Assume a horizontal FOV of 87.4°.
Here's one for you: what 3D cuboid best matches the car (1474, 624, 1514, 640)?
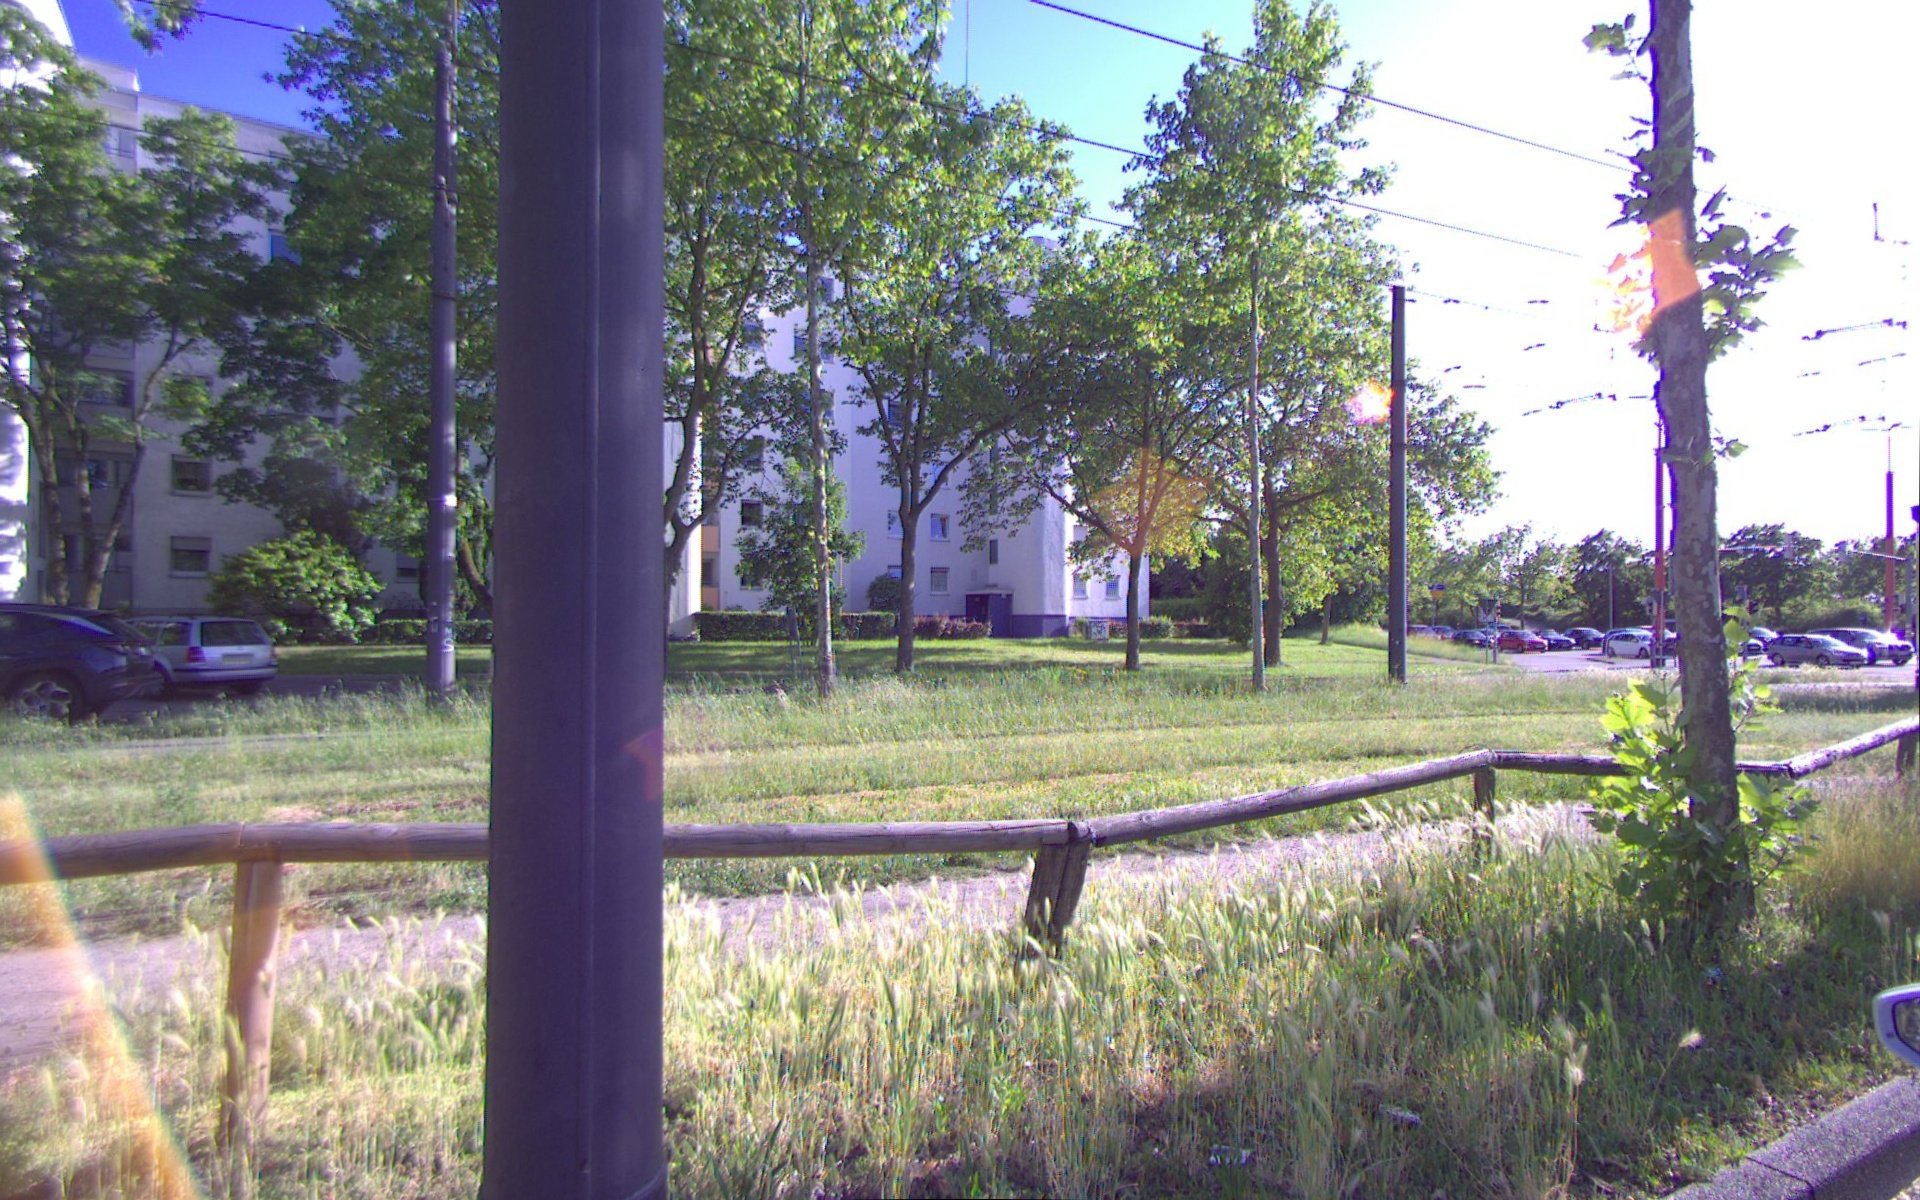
[{"bbox_3d":[57.876,3.465,108.936,1.625,1.647,4.673,1,-1,-3],"label":"car"}]

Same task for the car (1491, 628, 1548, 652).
[{"bbox_3d":[38.440,2.738,69.094,1.624,1.540,4.200,1,-1,1],"label":"car"}]

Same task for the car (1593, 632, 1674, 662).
[{"bbox_3d":[39.030,2.711,58.376,1.624,1.540,4.638,1,-1,1],"label":"car"}]

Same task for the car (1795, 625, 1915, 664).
[{"bbox_3d":[42.895,2.085,48.291,1.624,1.669,4.644,1,-1,1],"label":"car"}]

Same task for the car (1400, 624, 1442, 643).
[{"bbox_3d":[38.665,2.793,84.266,1.624,1.540,4.200,1,-1,1],"label":"car"}]

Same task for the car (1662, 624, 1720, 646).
[{"bbox_3d":[62.855,3.008,86.439,1.626,1.773,4.127,1,-1,-7],"label":"car"}]

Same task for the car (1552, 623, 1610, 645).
[{"bbox_3d":[45.312,2.455,73.328,1.513,1.434,4.154,1,-1,-3],"label":"car"}]

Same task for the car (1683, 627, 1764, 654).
[{"bbox_3d":[45.583,2.390,60.061,1.513,1.434,4.154,1,-1,-3],"label":"car"}]

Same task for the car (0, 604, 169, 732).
[{"bbox_3d":[-13.333,0.866,13.296,4.243,1.640,1.644,1,0,-30],"label":"car"}]

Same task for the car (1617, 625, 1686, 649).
[{"bbox_3d":[45.411,2.423,66.032,1.513,1.434,4.154,1,-1,-3],"label":"car"}]

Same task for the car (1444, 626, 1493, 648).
[{"bbox_3d":[38.660,2.804,76.439,1.624,1.540,4.200,1,-1,1],"label":"car"}]

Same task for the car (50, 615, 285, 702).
[{"bbox_3d":[-14.528,1.008,18.429,3.830,1.421,1.581,1,0,20],"label":"car"}]

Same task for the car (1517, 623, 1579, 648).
[{"bbox_3d":[42.269,2.542,72.333,1.721,1.669,4.644,1,-1,1],"label":"car"}]

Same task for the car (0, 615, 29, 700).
[{"bbox_3d":[-17.977,0.945,17.155,3.567,1.421,1.581,1,0,20],"label":"car"}]

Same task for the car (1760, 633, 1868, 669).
[{"bbox_3d":[38.999,2.283,45.986,1.624,1.460,3.841,1,-1,-2],"label":"car"}]
